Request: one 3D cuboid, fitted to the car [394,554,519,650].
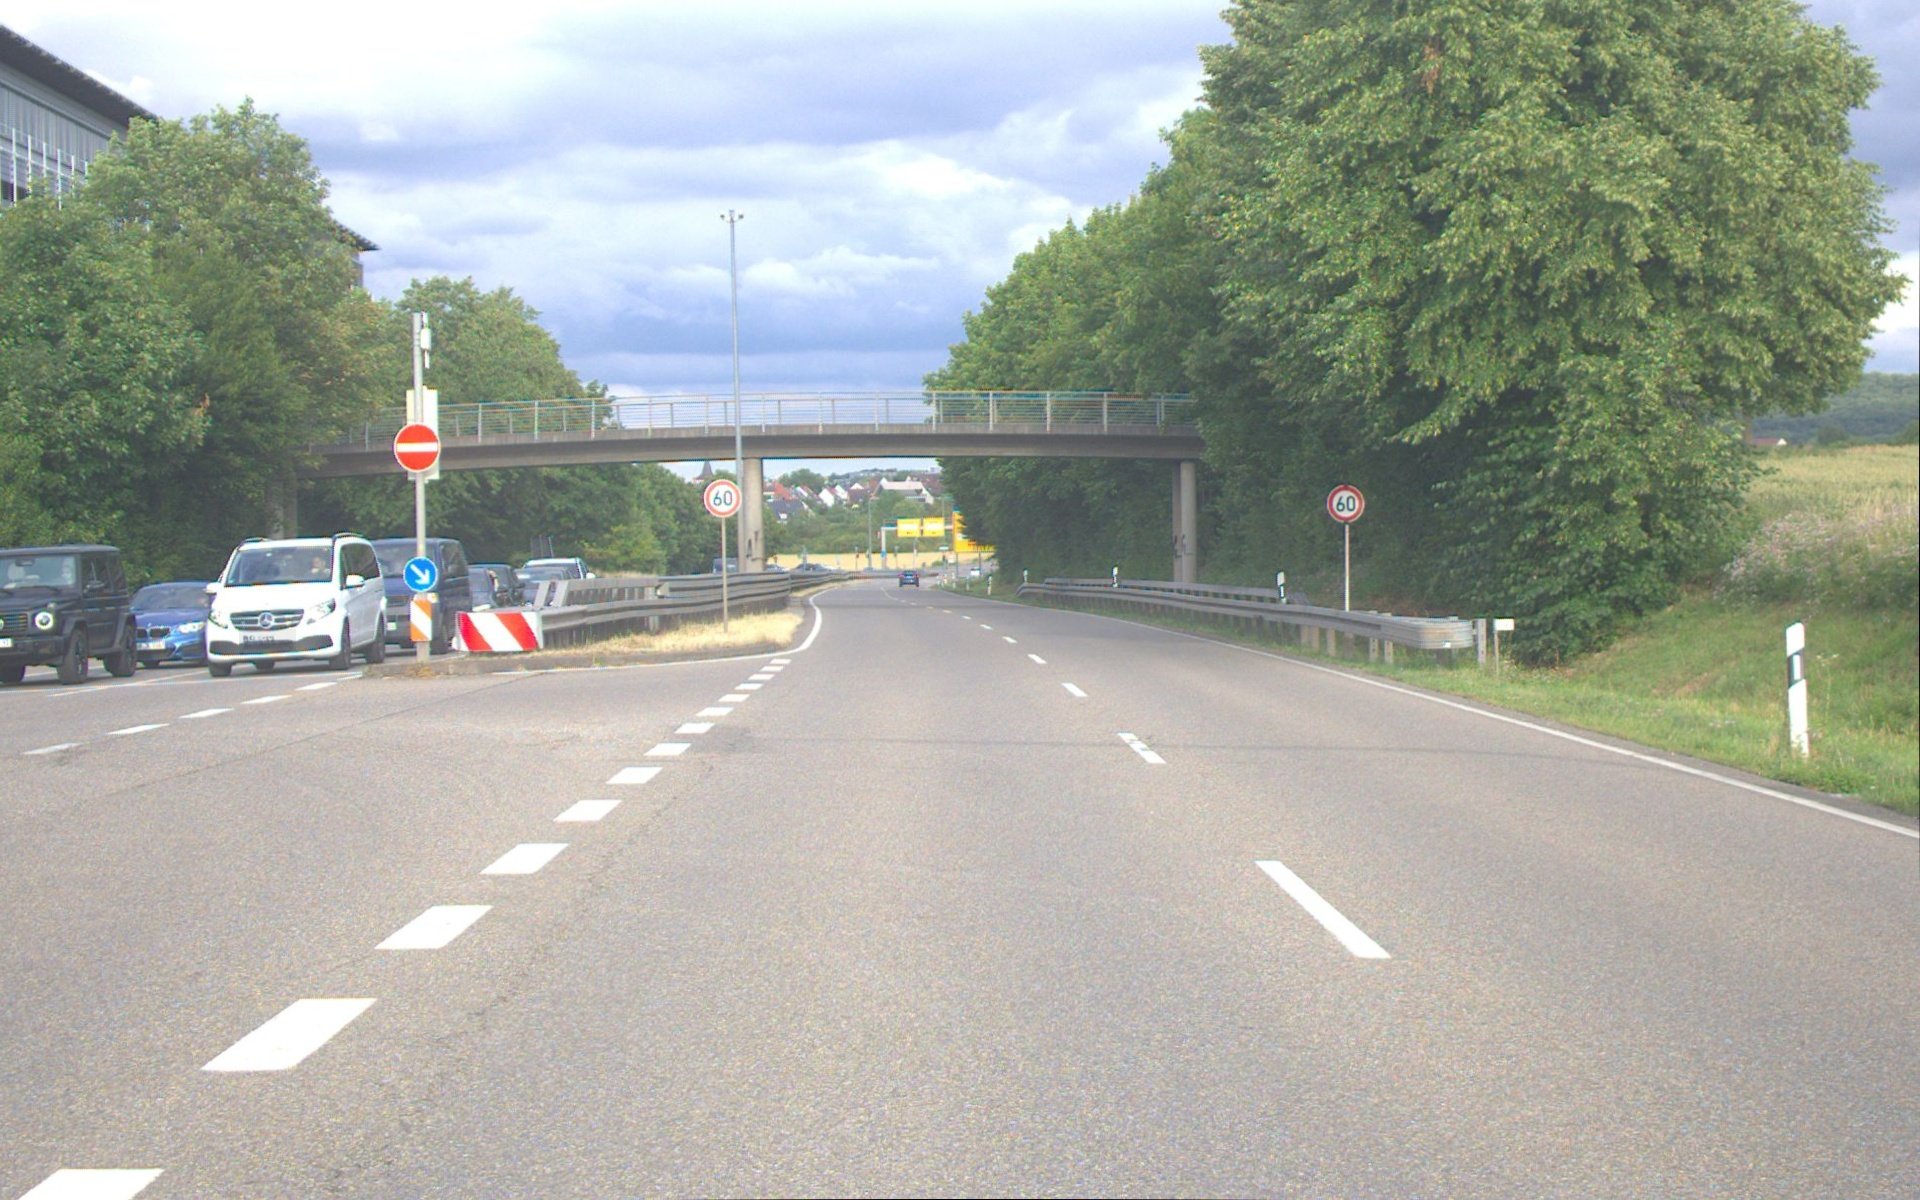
[{"bbox_3d":[-9.420,0.004,64.600,1.712,1.583,4.555,-4,2,-2],"label":"car"}]

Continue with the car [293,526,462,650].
[{"bbox_3d":[-9.614,-0.214,57.123,1.898,1.910,5.050,-2,1,0],"label":"car"}]

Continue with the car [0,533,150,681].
[{"bbox_3d":[-13.173,0.081,49.336,1.934,1.983,5.091,-2,1,-1],"label":"car"}]

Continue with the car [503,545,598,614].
[{"bbox_3d":[-10.151,-0.524,85.524,1.822,1.579,4.791,-3,1,-2],"label":"car"}]

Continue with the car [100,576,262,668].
[{"bbox_3d":[-12.700,0.330,56.259,1.648,1.383,4.186,-2,1,0],"label":"car"}]

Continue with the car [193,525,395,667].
[{"bbox_3d":[-9.519,-0.086,49.566,1.934,1.866,5.347,-2,1,-1],"label":"car"}]

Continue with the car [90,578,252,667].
[{"bbox_3d":[-12.840,0.347,56.177,1.721,1.236,4.000,-4,1,-1],"label":"car"}]
